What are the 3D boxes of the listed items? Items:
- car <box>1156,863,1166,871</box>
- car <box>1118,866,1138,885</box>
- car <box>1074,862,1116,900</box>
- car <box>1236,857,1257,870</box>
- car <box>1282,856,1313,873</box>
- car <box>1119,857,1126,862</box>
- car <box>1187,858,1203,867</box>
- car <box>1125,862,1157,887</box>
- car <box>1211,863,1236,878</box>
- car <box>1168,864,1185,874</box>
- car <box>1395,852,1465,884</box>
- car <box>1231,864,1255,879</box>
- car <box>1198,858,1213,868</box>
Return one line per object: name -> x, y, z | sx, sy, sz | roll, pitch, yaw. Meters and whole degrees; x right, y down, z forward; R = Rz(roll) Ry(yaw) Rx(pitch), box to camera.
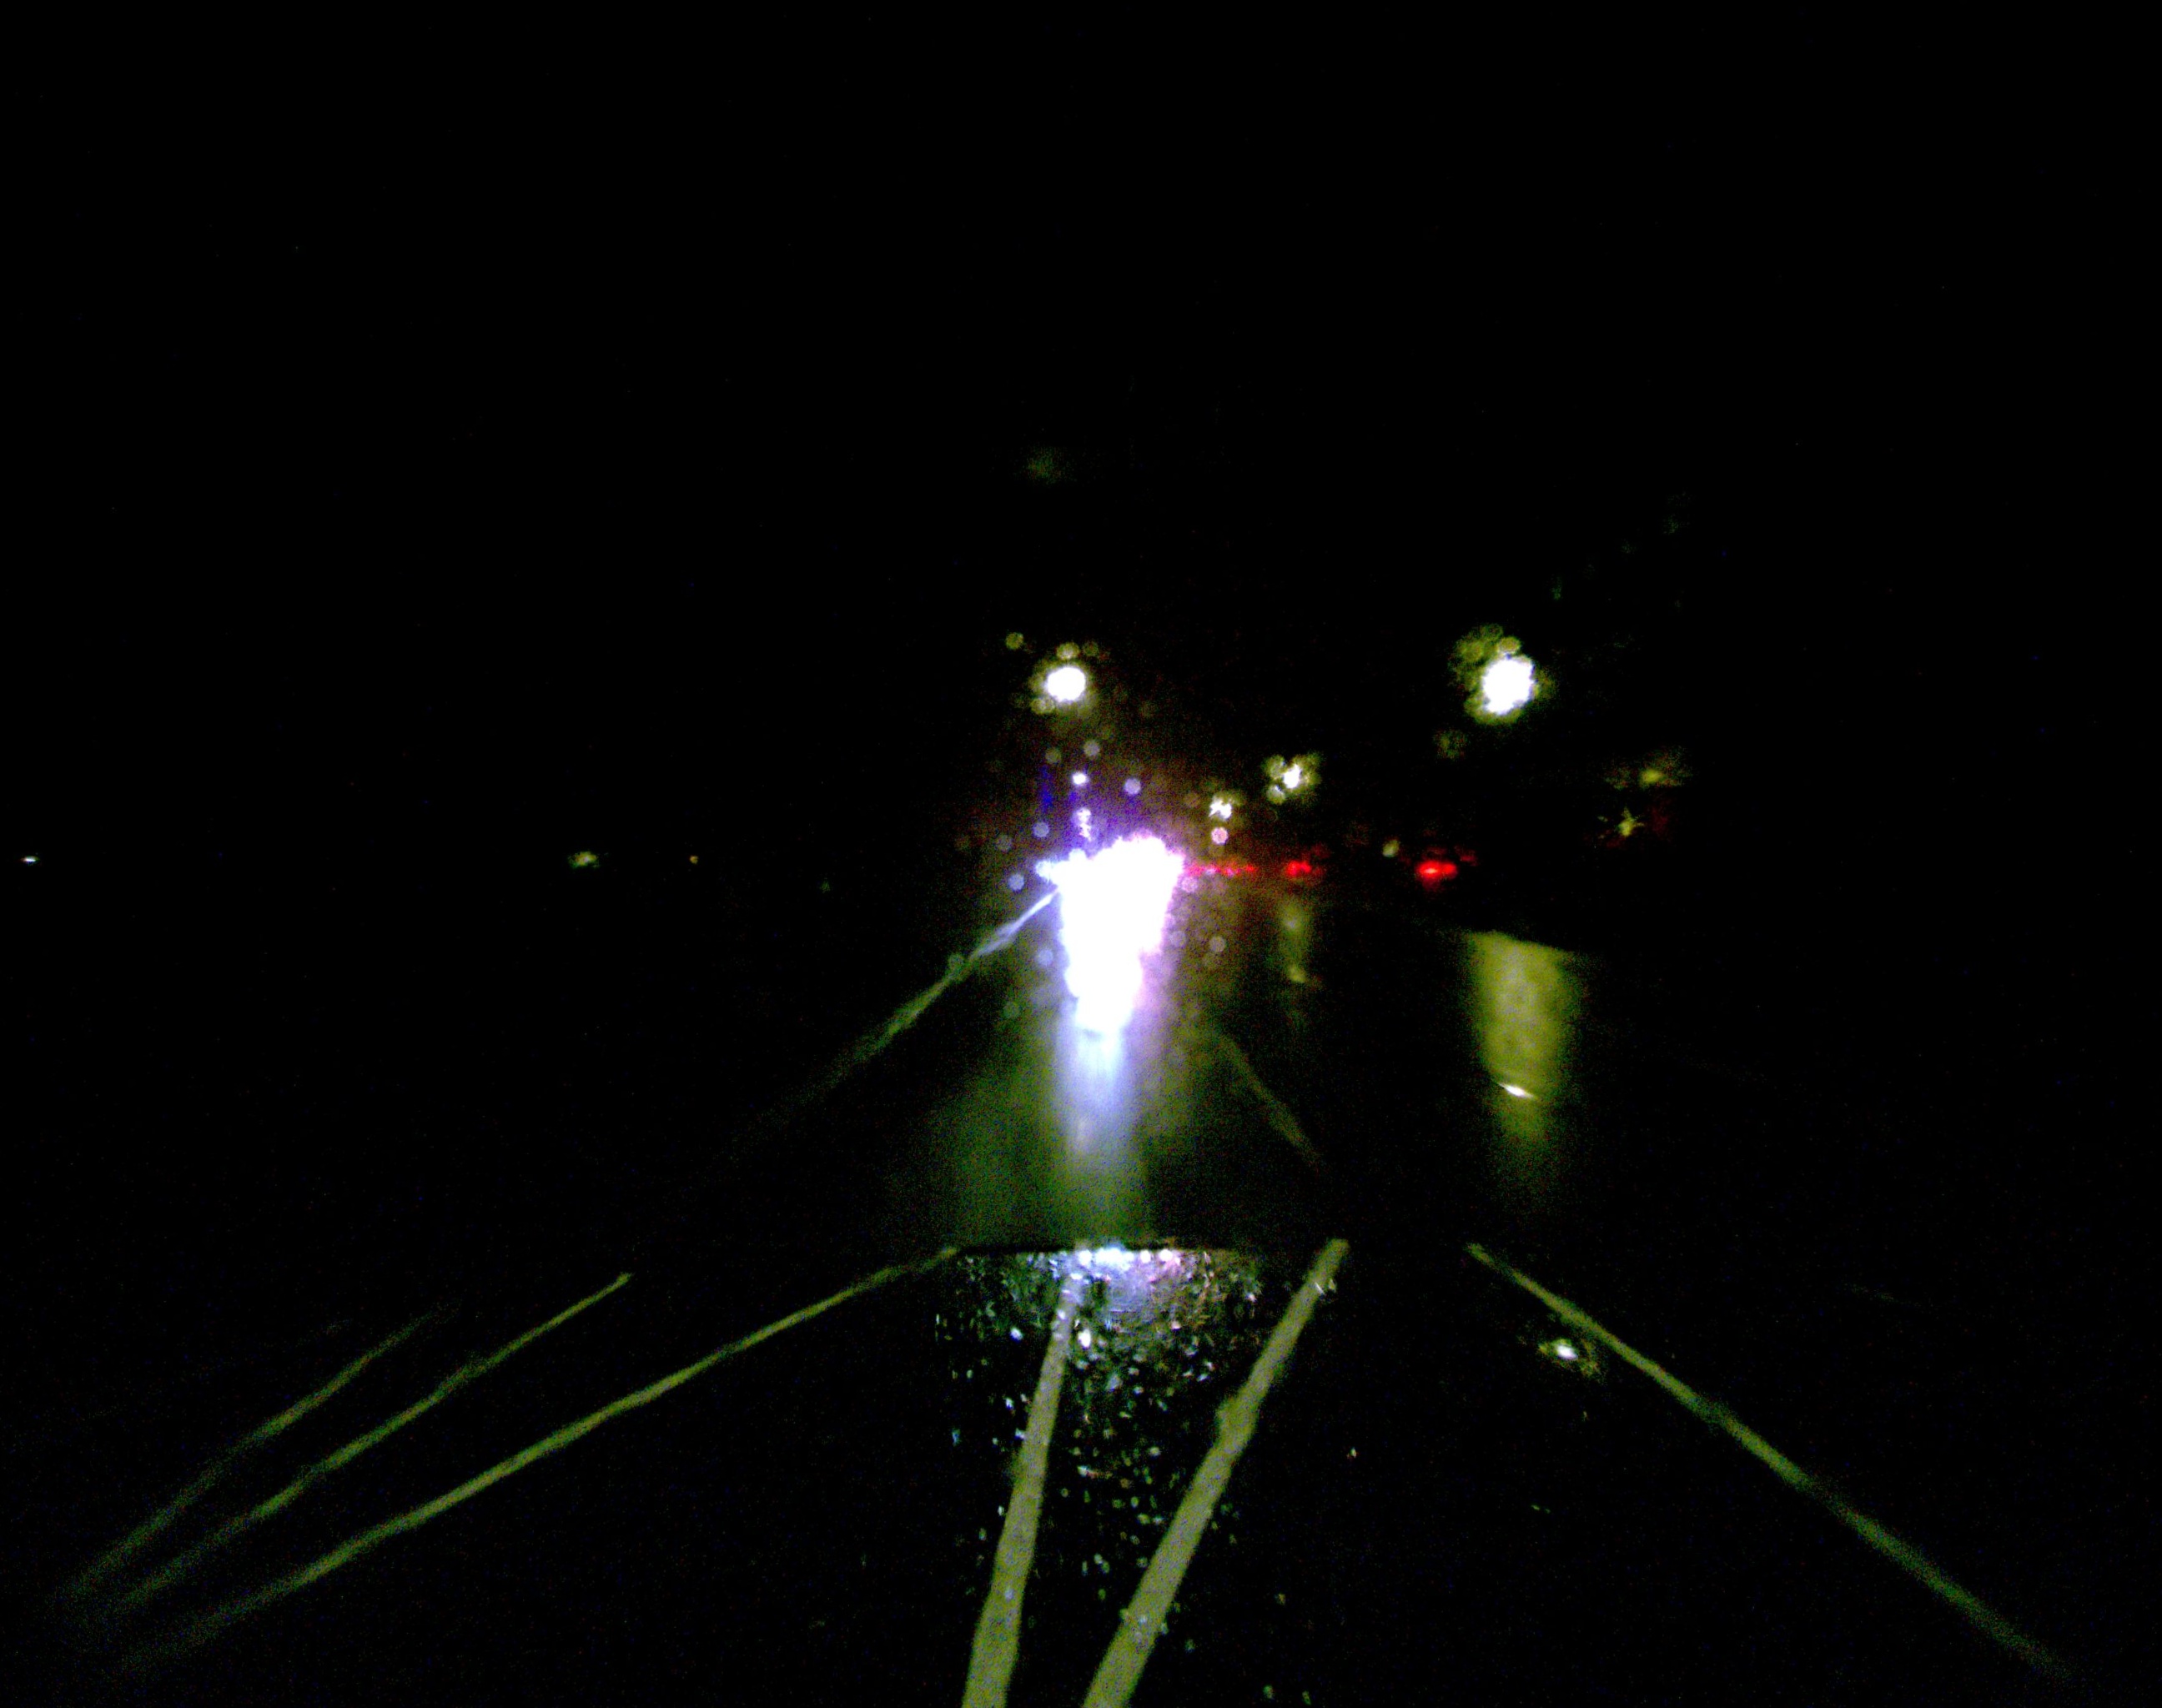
car -> 16.590, 2.656, 158.196 | 1.711, 1.568, 3.820 | -2, 0, 0
car -> 4.622, 2.103, 75.205 | 1.833, 1.696, 4.195 | -2, 0, 1
car -> 0.713, 1.329, 38.492 | 1.950, 1.709, 4.442 | -2, 0, 1
car -> 21.325, 1.193, 98.199 | 1.847, 1.583, 4.366 | -2, 0, 2
car -> 20.811, 0.986, 73.251 | 1.847, 1.583, 4.366 | -2, 0, 2
car -> 13.212, 1.759, 242.646 | 1.833, 1.696, 4.195 | -2, 0, 1
car -> 19.240, 1.458, 128.331 | 1.848, 1.350, 5.559 | -2, 0, 0
car -> 3.950, 1.347, 50.797 | 1.833, 1.518, 4.875 | -2, 0, 1
car -> 14.932, 1.722, 79.855 | 1.847, 1.477, 4.366 | -2, 0, 2
car -> 15.929, 2.519, 127.334 | 1.848, 1.583, 5.326 | -2, 0, -2
car -> 20.425, 0.797, 44.683 | 2.029, 1.674, 4.548 | -2, 0, 1
car -> 18.222, 1.927, 85.533 | 1.847, 1.583, 4.366 | -2, 0, 2
car -> 22.057, 1.562, 134.961 | 1.848, 1.583, 4.750 | -2, 0, 1
